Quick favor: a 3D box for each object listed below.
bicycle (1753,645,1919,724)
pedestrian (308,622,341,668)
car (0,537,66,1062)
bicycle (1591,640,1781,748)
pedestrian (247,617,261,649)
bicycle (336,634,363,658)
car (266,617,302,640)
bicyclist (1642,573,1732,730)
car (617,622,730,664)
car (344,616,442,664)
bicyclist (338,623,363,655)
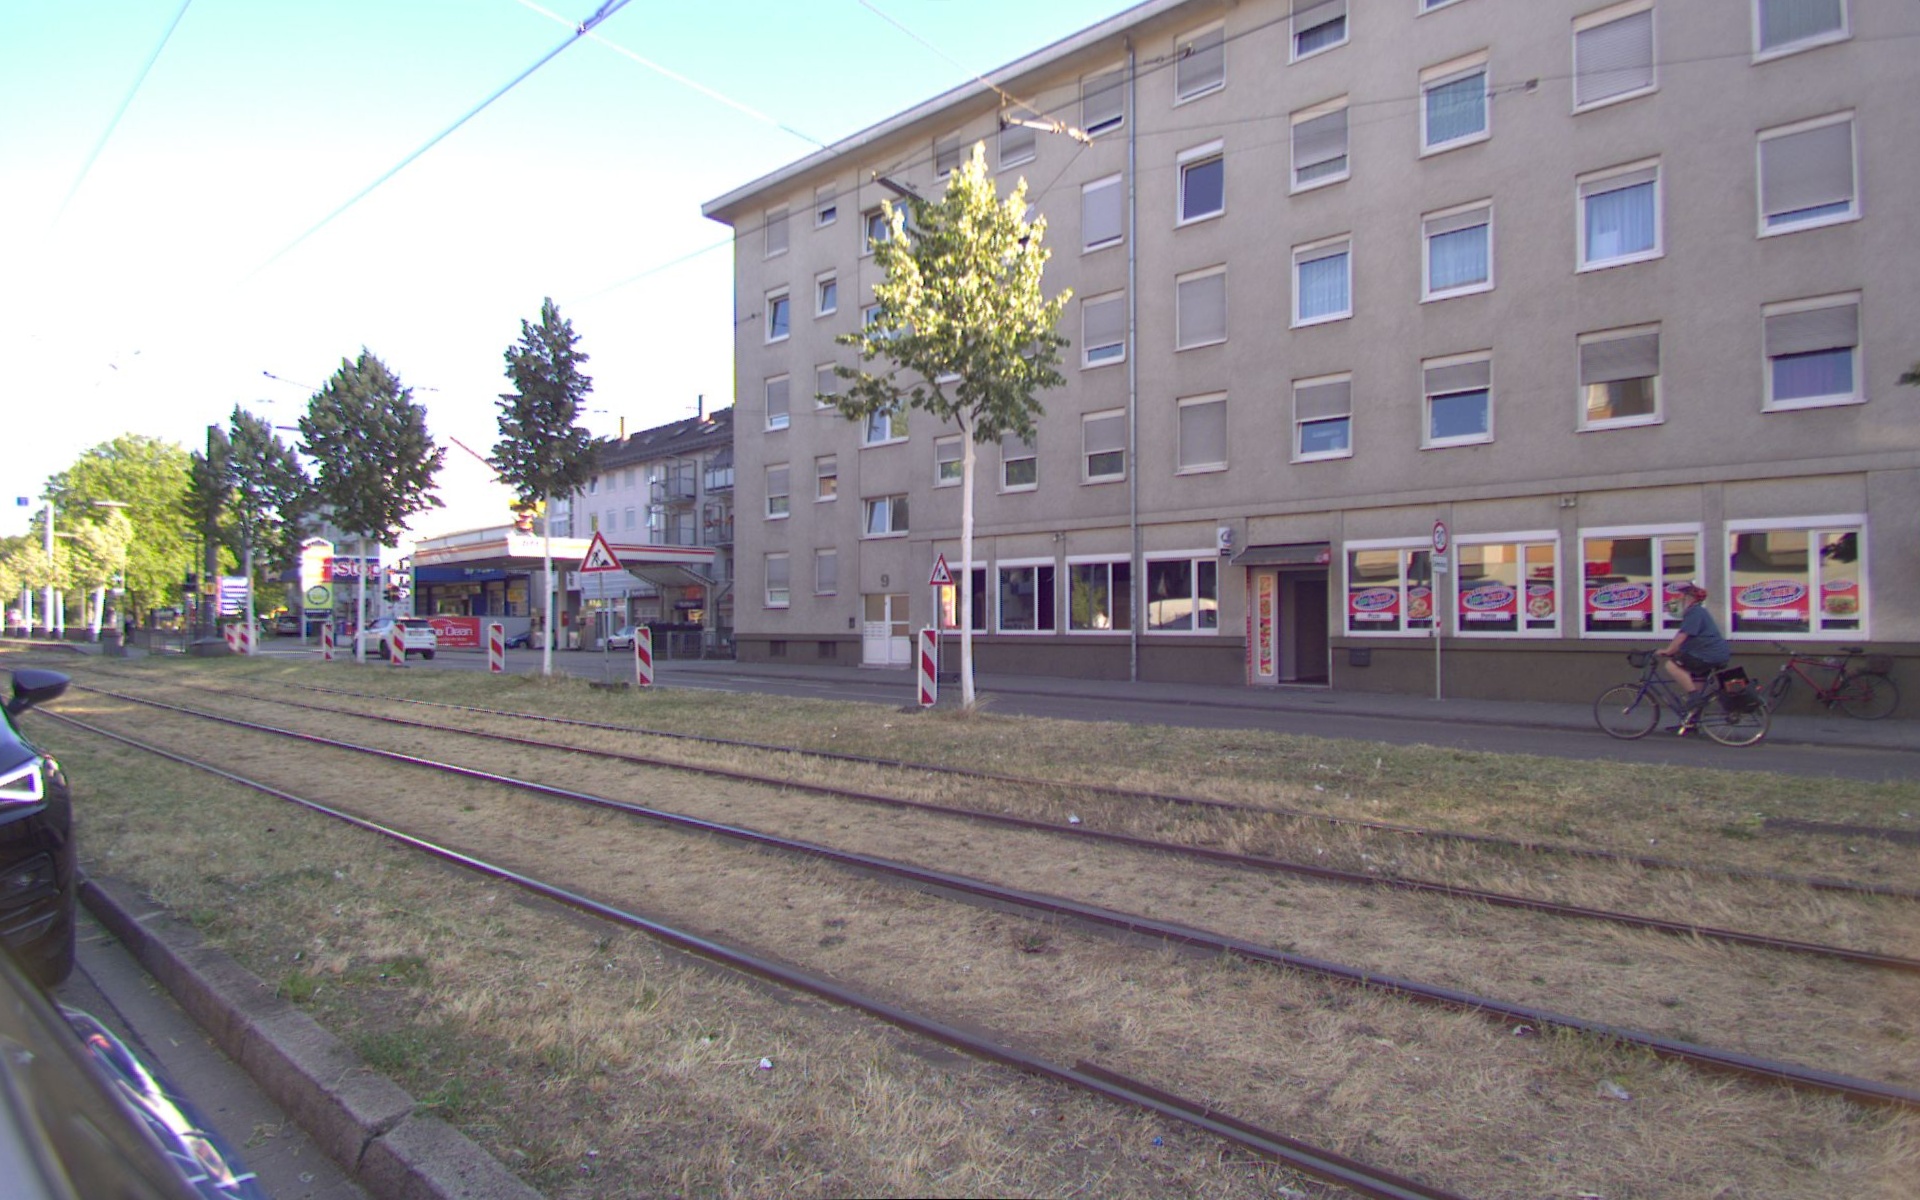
[{"bbox_3d":[12.743,1.200,14.740,1.844,1.031,0.601,-1,0,41],"label":"bicycle"},{"bbox_3d":[-18.351,1.291,29.207,0.581,1.280,0.655,-3,-1,42],"label":"pedestrian"},{"bbox_3d":[-5.068,0.681,4.045,3.998,1.690,1.752,-1,-1,41],"label":"car"},{"bbox_3d":[9.113,1.152,12.768,1.870,1.267,0.450,-3,-2,42],"label":"bicycle"},{"bbox_3d":[-44.825,2.108,64.256,0.583,2.029,0.623,-2,-2,42],"label":"pedestrian"},{"bbox_3d":[-27.966,2.108,46.359,1.858,1.052,0.441,-1,-2,39],"label":"bicycle"},{"bbox_3d":[-49.953,2.086,74.762,1.756,1.567,4.006,-1,0,-40],"label":"car"},{"bbox_3d":[9.160,0.642,12.757,0.809,1.897,0.644,-2,-3,43],"label":"bicyclist"},{"bbox_3d":[-10.751,1.602,38.117,1.906,1.481,3.680,-4,-4,40],"label":"car"},{"bbox_3d":[-22.026,1.521,39.251,4.392,1.748,1.972,-1,-1,42],"label":"car"},{"bbox_3d":[-27.859,1.766,46.254,0.649,1.457,0.770,-1,-2,38],"label":"bicyclist"}]
